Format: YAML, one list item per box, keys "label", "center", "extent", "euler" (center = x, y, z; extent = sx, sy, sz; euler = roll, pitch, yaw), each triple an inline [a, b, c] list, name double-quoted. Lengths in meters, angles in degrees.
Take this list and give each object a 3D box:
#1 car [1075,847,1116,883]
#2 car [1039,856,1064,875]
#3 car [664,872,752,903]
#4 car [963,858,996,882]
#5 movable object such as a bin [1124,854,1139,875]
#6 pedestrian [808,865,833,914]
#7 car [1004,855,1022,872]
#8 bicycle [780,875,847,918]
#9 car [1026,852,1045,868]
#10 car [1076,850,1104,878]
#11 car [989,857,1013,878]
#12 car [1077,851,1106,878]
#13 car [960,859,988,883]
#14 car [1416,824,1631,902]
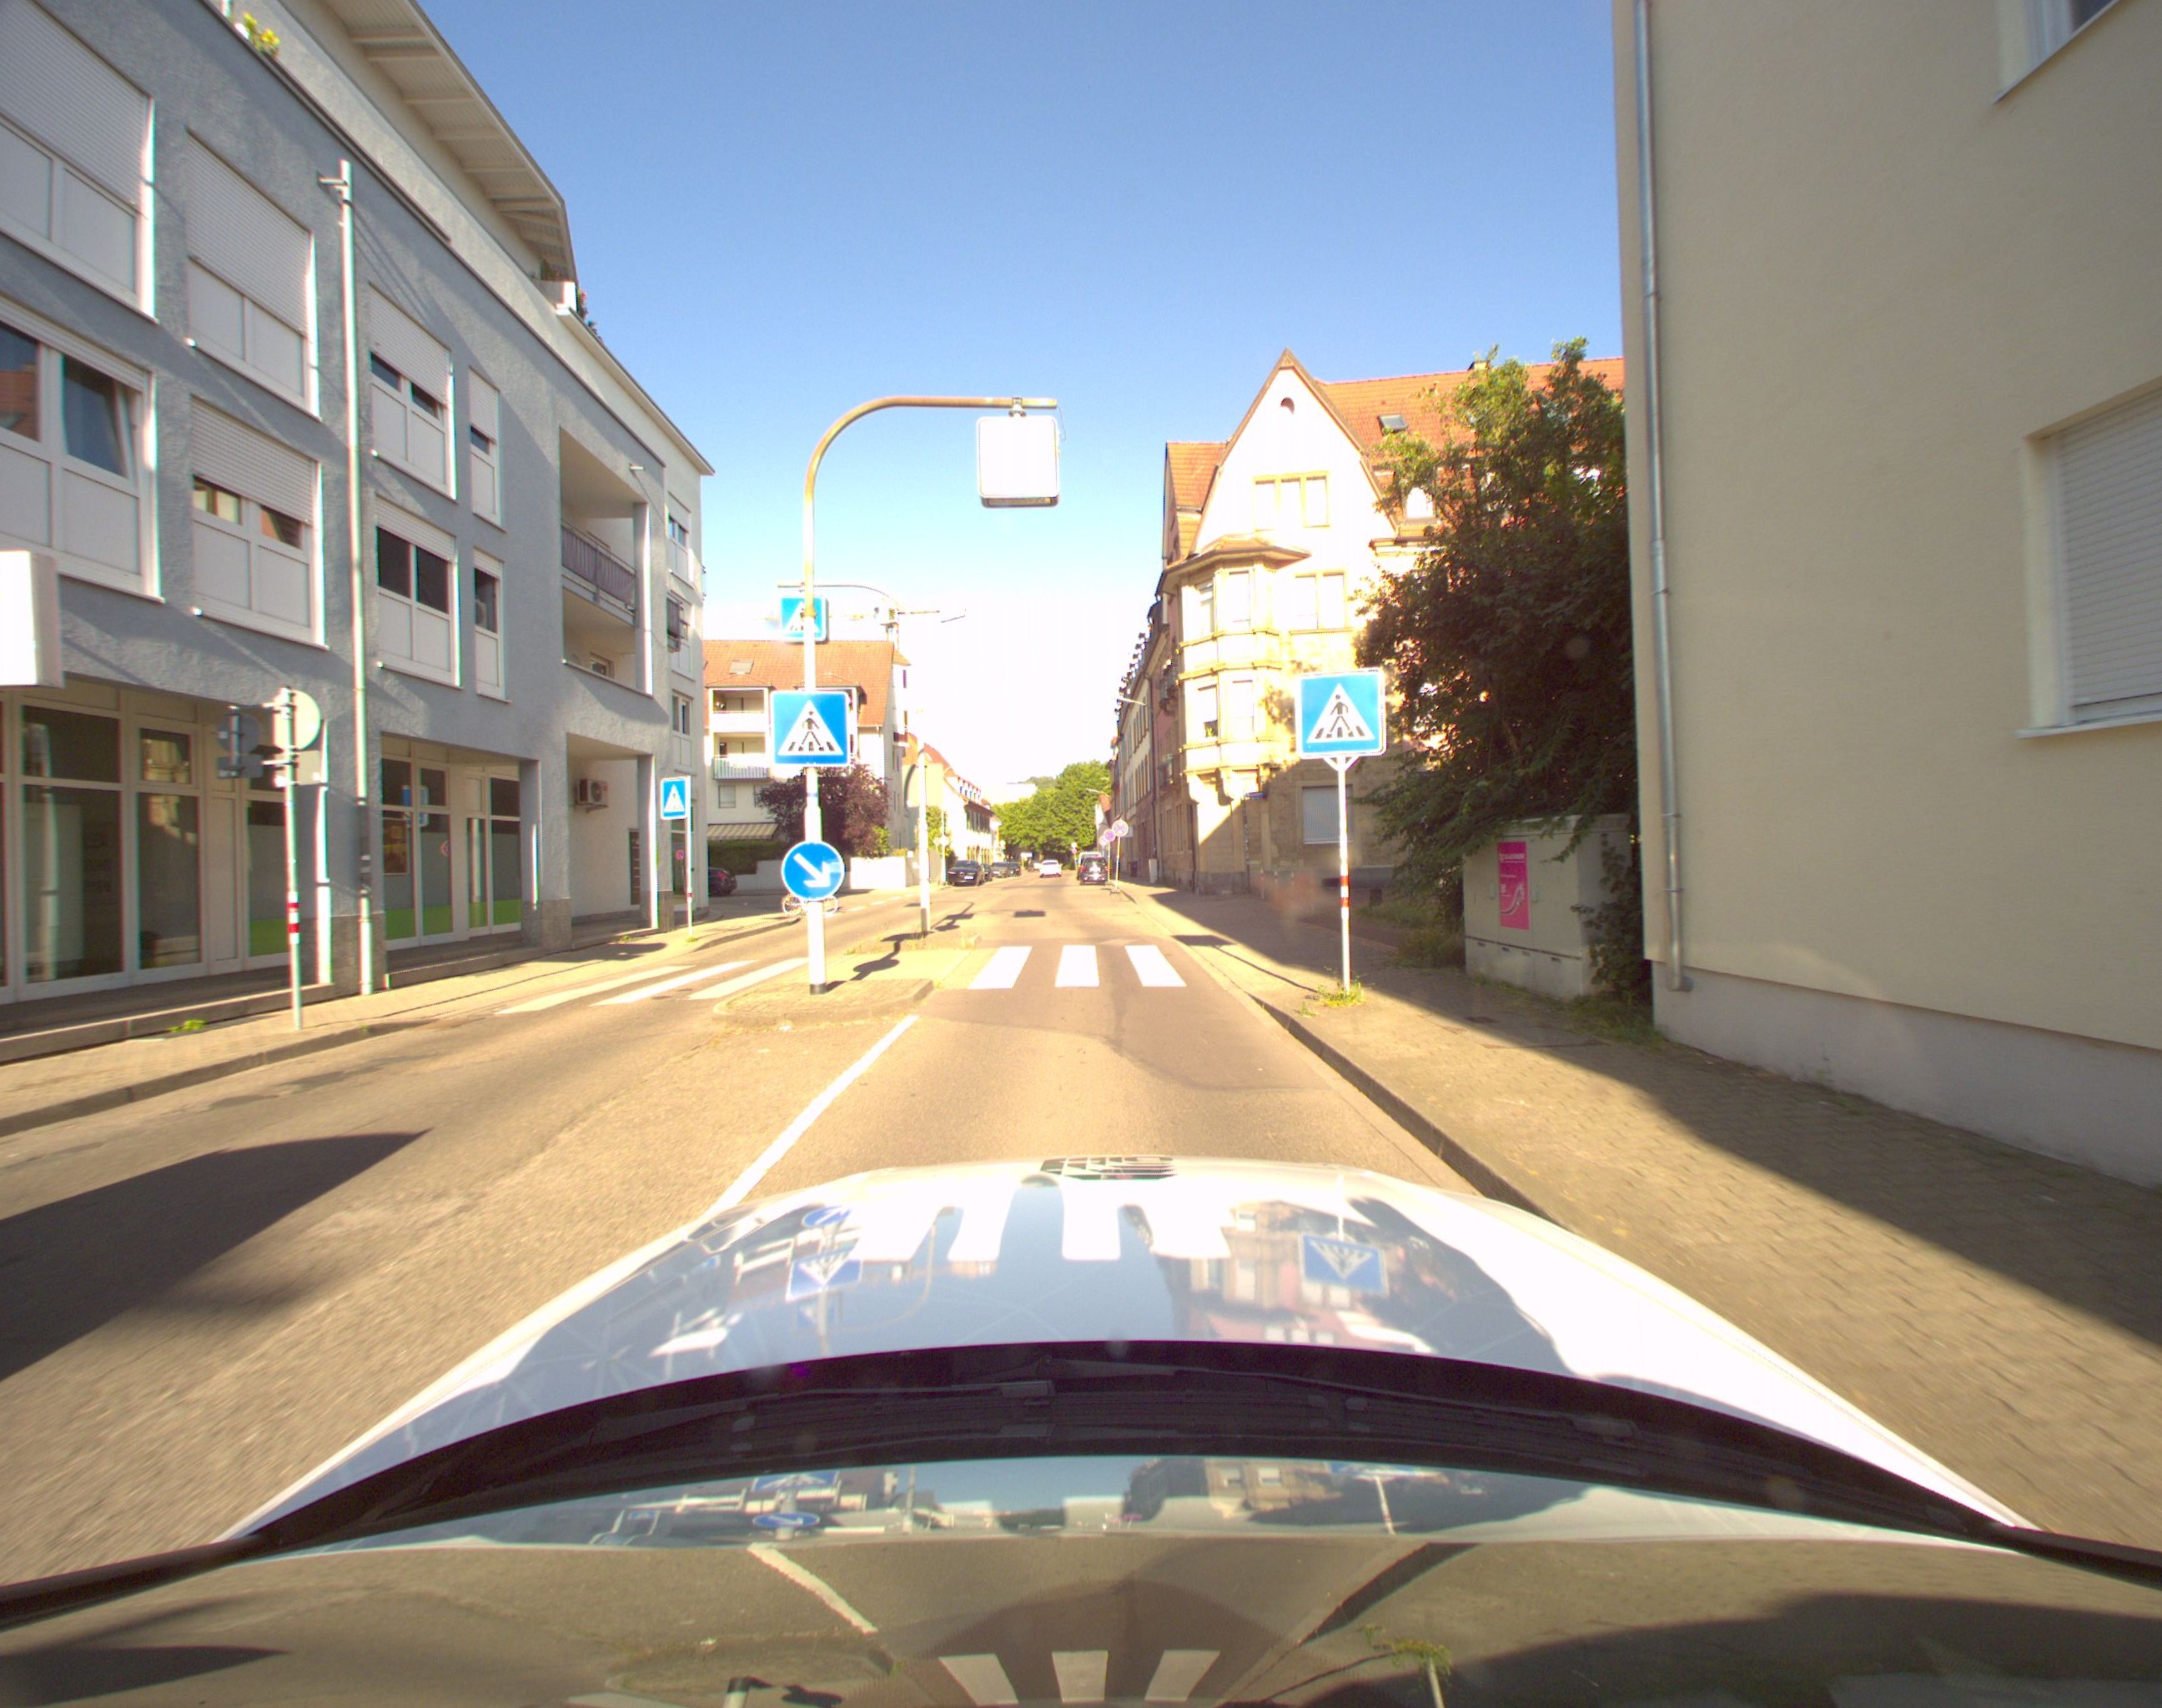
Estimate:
- label: "car"
  center: [0.744, 0.587, 45.162]
  extent: [2.006, 1.853, 3.997]
  euler: [-1, 1, -2]
- label: "car"
  center: [-2.472, 0.907, 67.423]
  extent: [1.989, 1.466, 3.995]
  euler: [-3, 0, -4]
- label: "car"
  center: [-18.365, 1.643, 40.247]
  extent: [3.535, 1.181, 1.613]
  euler: [-4, 1, -6]
- label: "car"
  center: [-7.682, 1.184, 62.159]
  extent: [2.087, 1.630, 3.819]
  euler: [-4, 1, -2]
- label: "movable object such as a bin"
  center: [3.451, 0.746, 56.071]
  extent: [0.869, 1.377, 0.684]
  euler: [-4, 1, -4]
- label: "pedestrian"
  center: [-8.038, 1.082, 25.133]
  extent: [0.556, 1.472, 0.600]
  euler: [-3, 0, -5]
- label: "car"
  center: [-7.157, 0.948, 85.442]
  extent: [1.627, 1.630, 3.172]
  euler: [-4, 1, -2]
- label: "bicycle"
  center: [-8.114, 1.269, 24.744]
  extent: [1.781, 1.184, 0.599]
  euler: [-3, 0, -1]
- label: "car"
  center: [-6.268, 0.775, 111.073]
  extent: [1.995, 2.013, 3.984]
  euler: [-3, 0, -11]
- label: "car"
  center: [0.654, 0.690, 61.444]
  extent: [1.836, 1.905, 3.997]
  euler: [-4, 1, -2]
- label: "car"
  center: [-7.518, 1.257, 76.514]
  extent: [1.906, 1.759, 4.125]
  euler: [-4, 1, -2]
- label: "car"
  center: [0.766, 0.720, 56.526]
  extent: [1.812, 1.630, 4.001]
  euler: [-4, 1, 1]
- label: "car"
  center: [-7.331, 1.166, 56.219]
  extent: [1.549, 1.457, 3.058]
  euler: [-4, 1, -2]
- label: "car"
  center: [10.237, 0.187, 19.115]
  extent: [3.934, 1.420, 1.906]
  euler: [-5, 1, 6]
